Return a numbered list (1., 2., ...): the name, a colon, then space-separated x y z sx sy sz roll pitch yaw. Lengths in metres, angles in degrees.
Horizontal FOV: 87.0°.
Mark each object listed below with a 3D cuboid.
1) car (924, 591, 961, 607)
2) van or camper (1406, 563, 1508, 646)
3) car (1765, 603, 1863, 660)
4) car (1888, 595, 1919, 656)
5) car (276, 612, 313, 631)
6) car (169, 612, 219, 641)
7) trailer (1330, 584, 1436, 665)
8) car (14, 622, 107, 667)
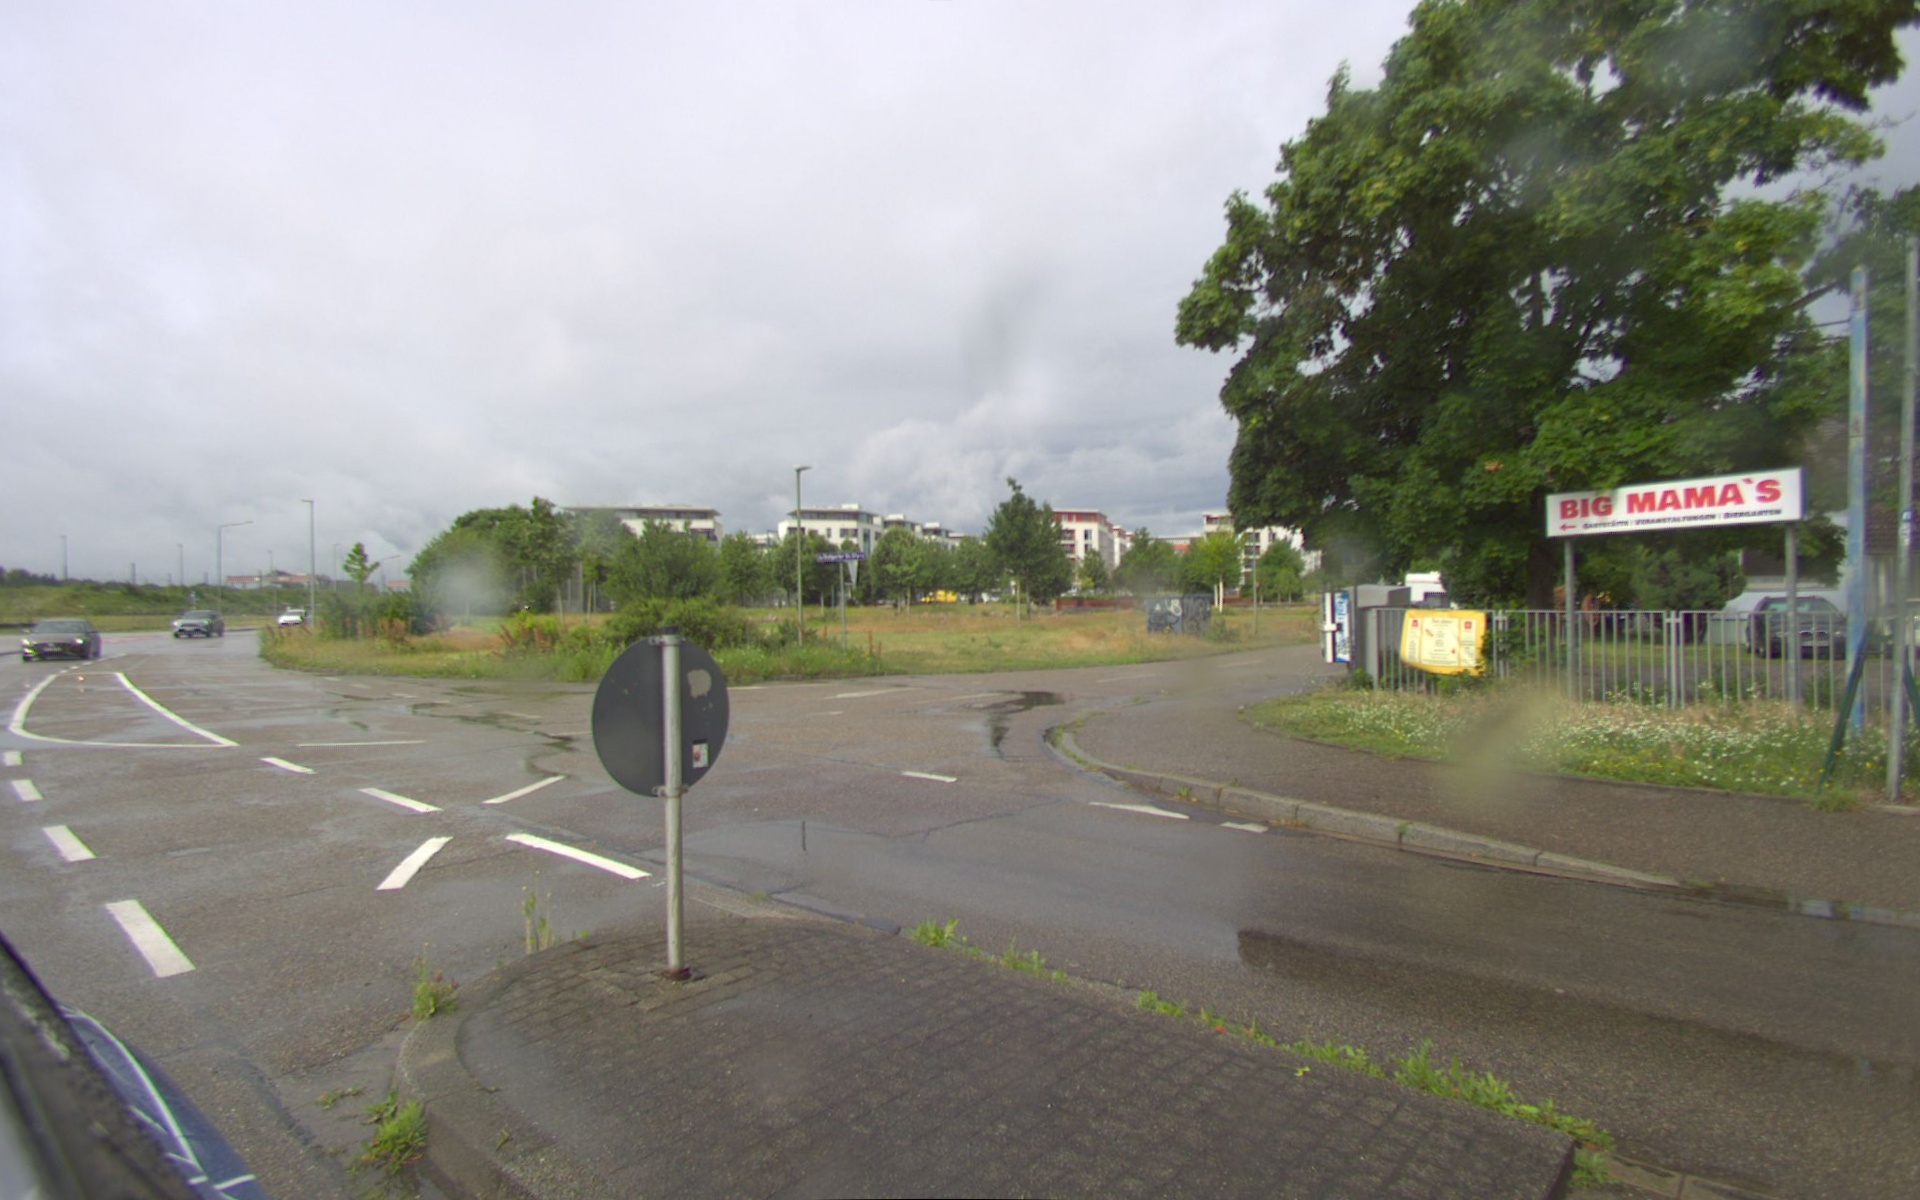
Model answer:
1. car: -3.281 -0.176 187.923 6.528 2.633 1.973 -3 1 -18
2. van or camper: 18.953 0.170 38.537 2.482 2.968 4.455 -1 0 40
3. car: 20.146 0.697 23.924 1.664 1.217 3.339 -1 -1 40
4. car: 22.647 0.549 23.547 1.388 1.326 3.869 -1 -1 41
5. car: -57.588 1.825 87.614 1.811 1.530 4.371 -1 0 -21
6. car: -47.801 1.635 63.197 1.977 1.718 4.342 -1 0 -30
7. trailer: 12.310 0.649 29.300 1.842 2.105 4.062 -1 1 37
8. car: -32.198 1.555 36.350 1.844 1.530 4.369 1 -2 -33
